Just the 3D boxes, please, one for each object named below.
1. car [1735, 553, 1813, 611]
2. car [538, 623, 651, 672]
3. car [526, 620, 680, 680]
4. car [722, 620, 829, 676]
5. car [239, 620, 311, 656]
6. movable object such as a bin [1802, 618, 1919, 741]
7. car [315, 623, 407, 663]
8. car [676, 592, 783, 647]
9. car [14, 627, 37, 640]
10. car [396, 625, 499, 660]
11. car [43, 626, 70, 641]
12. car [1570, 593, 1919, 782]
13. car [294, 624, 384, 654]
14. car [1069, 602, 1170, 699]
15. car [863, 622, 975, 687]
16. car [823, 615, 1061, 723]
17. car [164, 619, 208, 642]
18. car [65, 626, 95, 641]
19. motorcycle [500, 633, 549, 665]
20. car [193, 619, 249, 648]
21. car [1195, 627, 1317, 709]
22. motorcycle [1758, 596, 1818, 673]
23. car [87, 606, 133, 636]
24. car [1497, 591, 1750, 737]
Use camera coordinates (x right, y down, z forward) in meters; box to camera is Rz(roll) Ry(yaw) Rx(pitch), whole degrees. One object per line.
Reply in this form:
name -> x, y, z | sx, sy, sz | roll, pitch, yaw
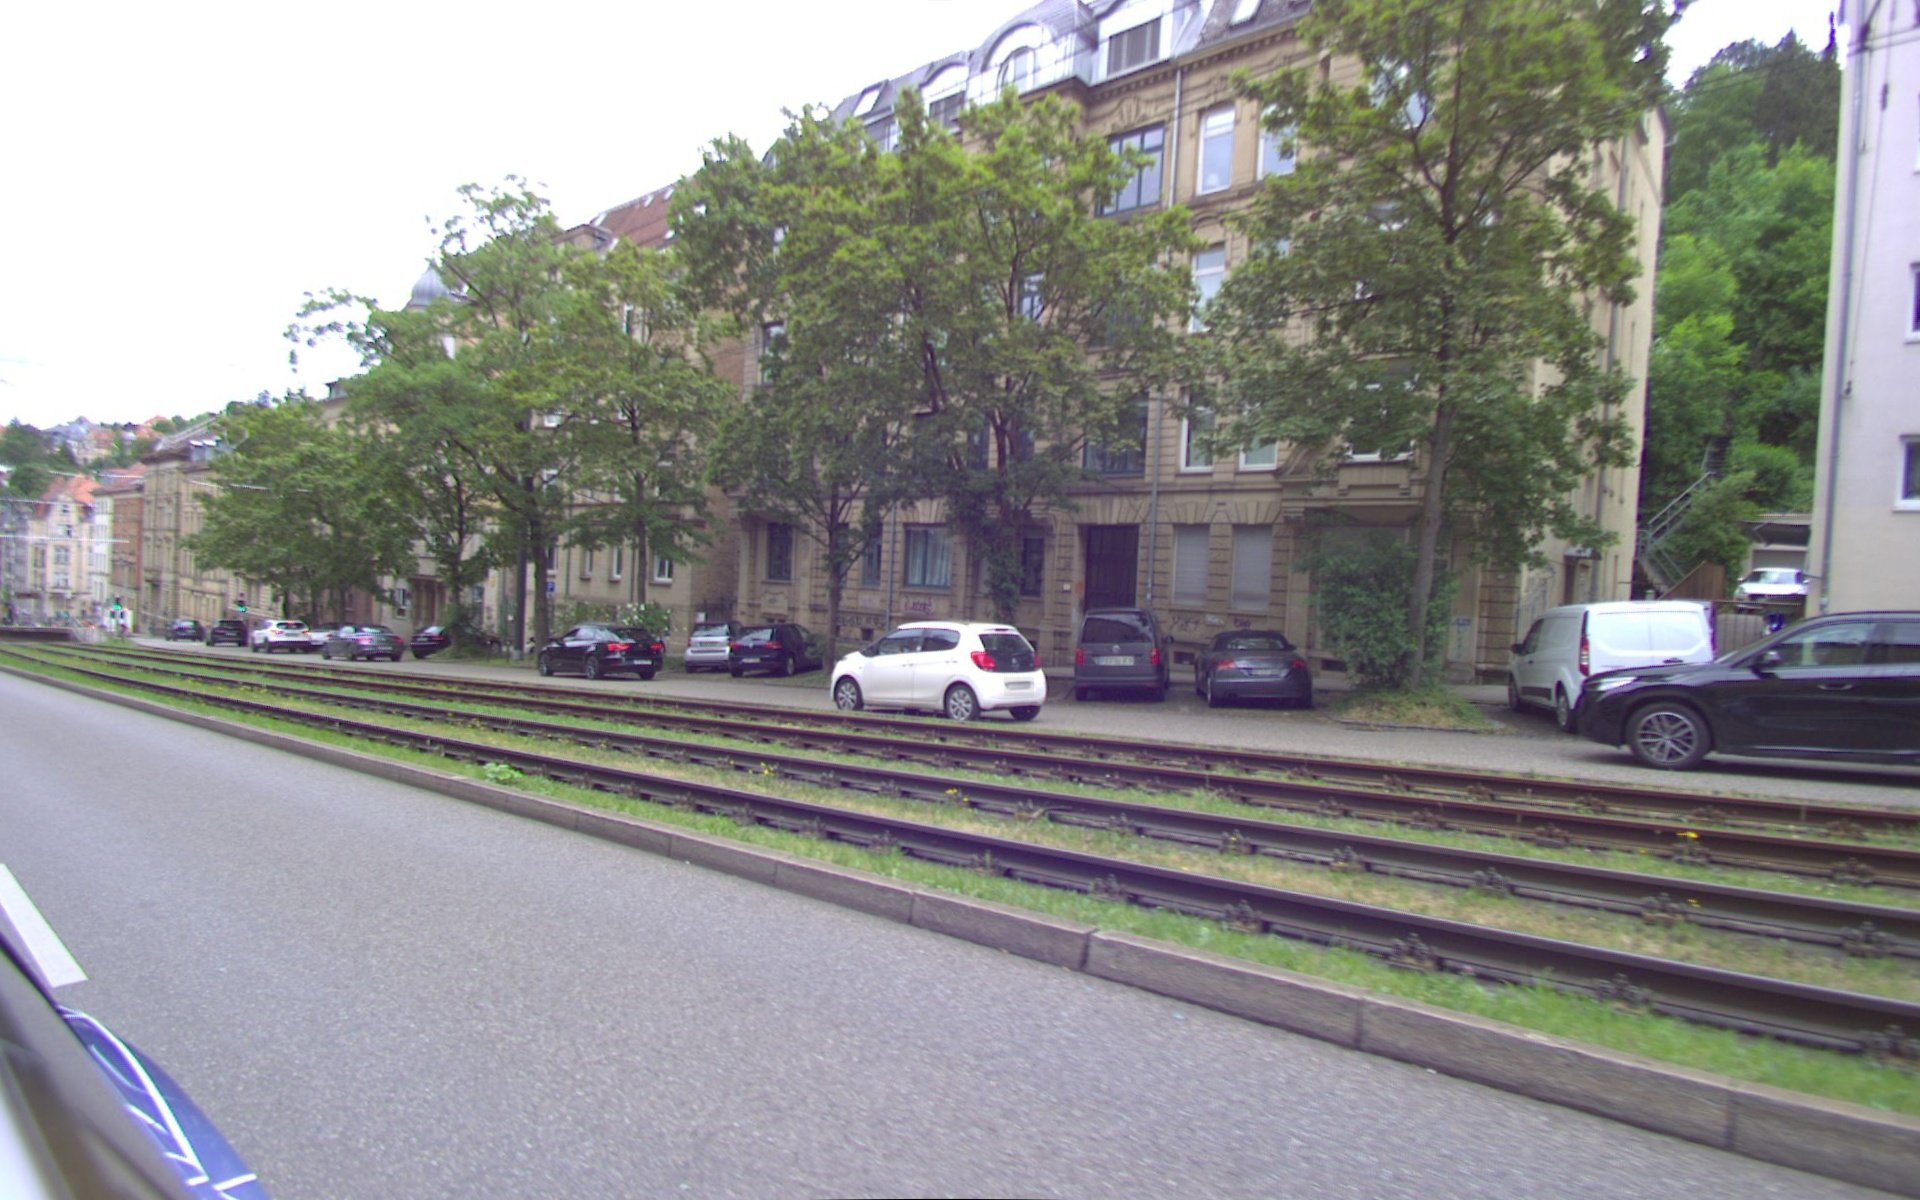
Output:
car -> 25.535, -0.499, 31.740 | 1.798, 1.635, 3.947 | -1, -2, 40
car -> -12.157, 1.527, 33.926 | 1.766, 1.481, 4.143 | 1, -1, 9
car -> -9.563, 1.296, 26.927 | 4.491, 1.446, 1.846 | -1, -4, 41
car -> -5.113, 1.308, 28.659 | 1.849, 1.446, 4.182 | 0, -1, 7
car -> -32.717, 1.804, 48.310 | 4.344, 1.629, 1.761 | -1, -3, 42
movable object such as a bin -> 11.226, 0.935, 12.398 | 1.090, 1.411, 1.267 | 0, 0, 26
car -> -23.203, 1.644, 39.111 | 4.596, 1.421, 1.706 | -1, -3, 42
car -> -7.125, 0.615, 31.697 | 1.850, 1.585, 4.179 | 0, -1, 9
car -> -101.770, 3.635, 110.222 | 3.654, 1.388, 1.559 | -1, -2, 42
car -> -21.739, 1.776, 43.105 | 1.694, 1.375, 4.168 | 0, -1, 11
car -> -102.543, 3.793, 114.865 | 4.471, 1.663, 1.859 | -1, -4, 44
car -> 8.816, 0.822, 9.932 | 4.604, 1.662, 1.897 | -1, -3, 41
car -> -31.939, 1.970, 52.188 | 1.766, 1.433, 3.988 | 0, -1, 10
car -> 3.350, 0.982, 20.844 | 1.852, 1.781, 4.176 | 0, -1, 11
car -> -0.913, 1.286, 25.065 | 1.852, 1.446, 4.176 | 0, -1, 11
car -> -0.329, 0.986, 15.278 | 3.410, 1.446, 1.571 | -1, -3, 41
car -> -56.975, 2.246, 74.465 | 4.472, 1.663, 1.859 | -2, -4, 44
car -> -92.401, 3.504, 106.205 | 4.746, 1.439, 1.730 | -1, -3, 41
motorcycle -> -15.769, 1.758, 36.706 | 0.618, 1.066, 2.201 | 0, 0, 7
car -> -44.214, 1.971, 60.526 | 4.241, 1.669, 1.761 | -1, -3, 42
car -> 5.500, 1.203, 19.271 | 1.852, 1.350, 4.176 | 0, -1, 11
motorcycle -> 16.211, 0.658, 19.794 | 0.769, 1.428, 2.152 | -1, -2, 43
car -> -80.677, 2.013, 96.052 | 6.517, 2.720, 2.366 | -1, -4, 42
car -> 9.622, 0.868, 15.109 | 1.854, 1.850, 4.172 | 0, -1, 14
